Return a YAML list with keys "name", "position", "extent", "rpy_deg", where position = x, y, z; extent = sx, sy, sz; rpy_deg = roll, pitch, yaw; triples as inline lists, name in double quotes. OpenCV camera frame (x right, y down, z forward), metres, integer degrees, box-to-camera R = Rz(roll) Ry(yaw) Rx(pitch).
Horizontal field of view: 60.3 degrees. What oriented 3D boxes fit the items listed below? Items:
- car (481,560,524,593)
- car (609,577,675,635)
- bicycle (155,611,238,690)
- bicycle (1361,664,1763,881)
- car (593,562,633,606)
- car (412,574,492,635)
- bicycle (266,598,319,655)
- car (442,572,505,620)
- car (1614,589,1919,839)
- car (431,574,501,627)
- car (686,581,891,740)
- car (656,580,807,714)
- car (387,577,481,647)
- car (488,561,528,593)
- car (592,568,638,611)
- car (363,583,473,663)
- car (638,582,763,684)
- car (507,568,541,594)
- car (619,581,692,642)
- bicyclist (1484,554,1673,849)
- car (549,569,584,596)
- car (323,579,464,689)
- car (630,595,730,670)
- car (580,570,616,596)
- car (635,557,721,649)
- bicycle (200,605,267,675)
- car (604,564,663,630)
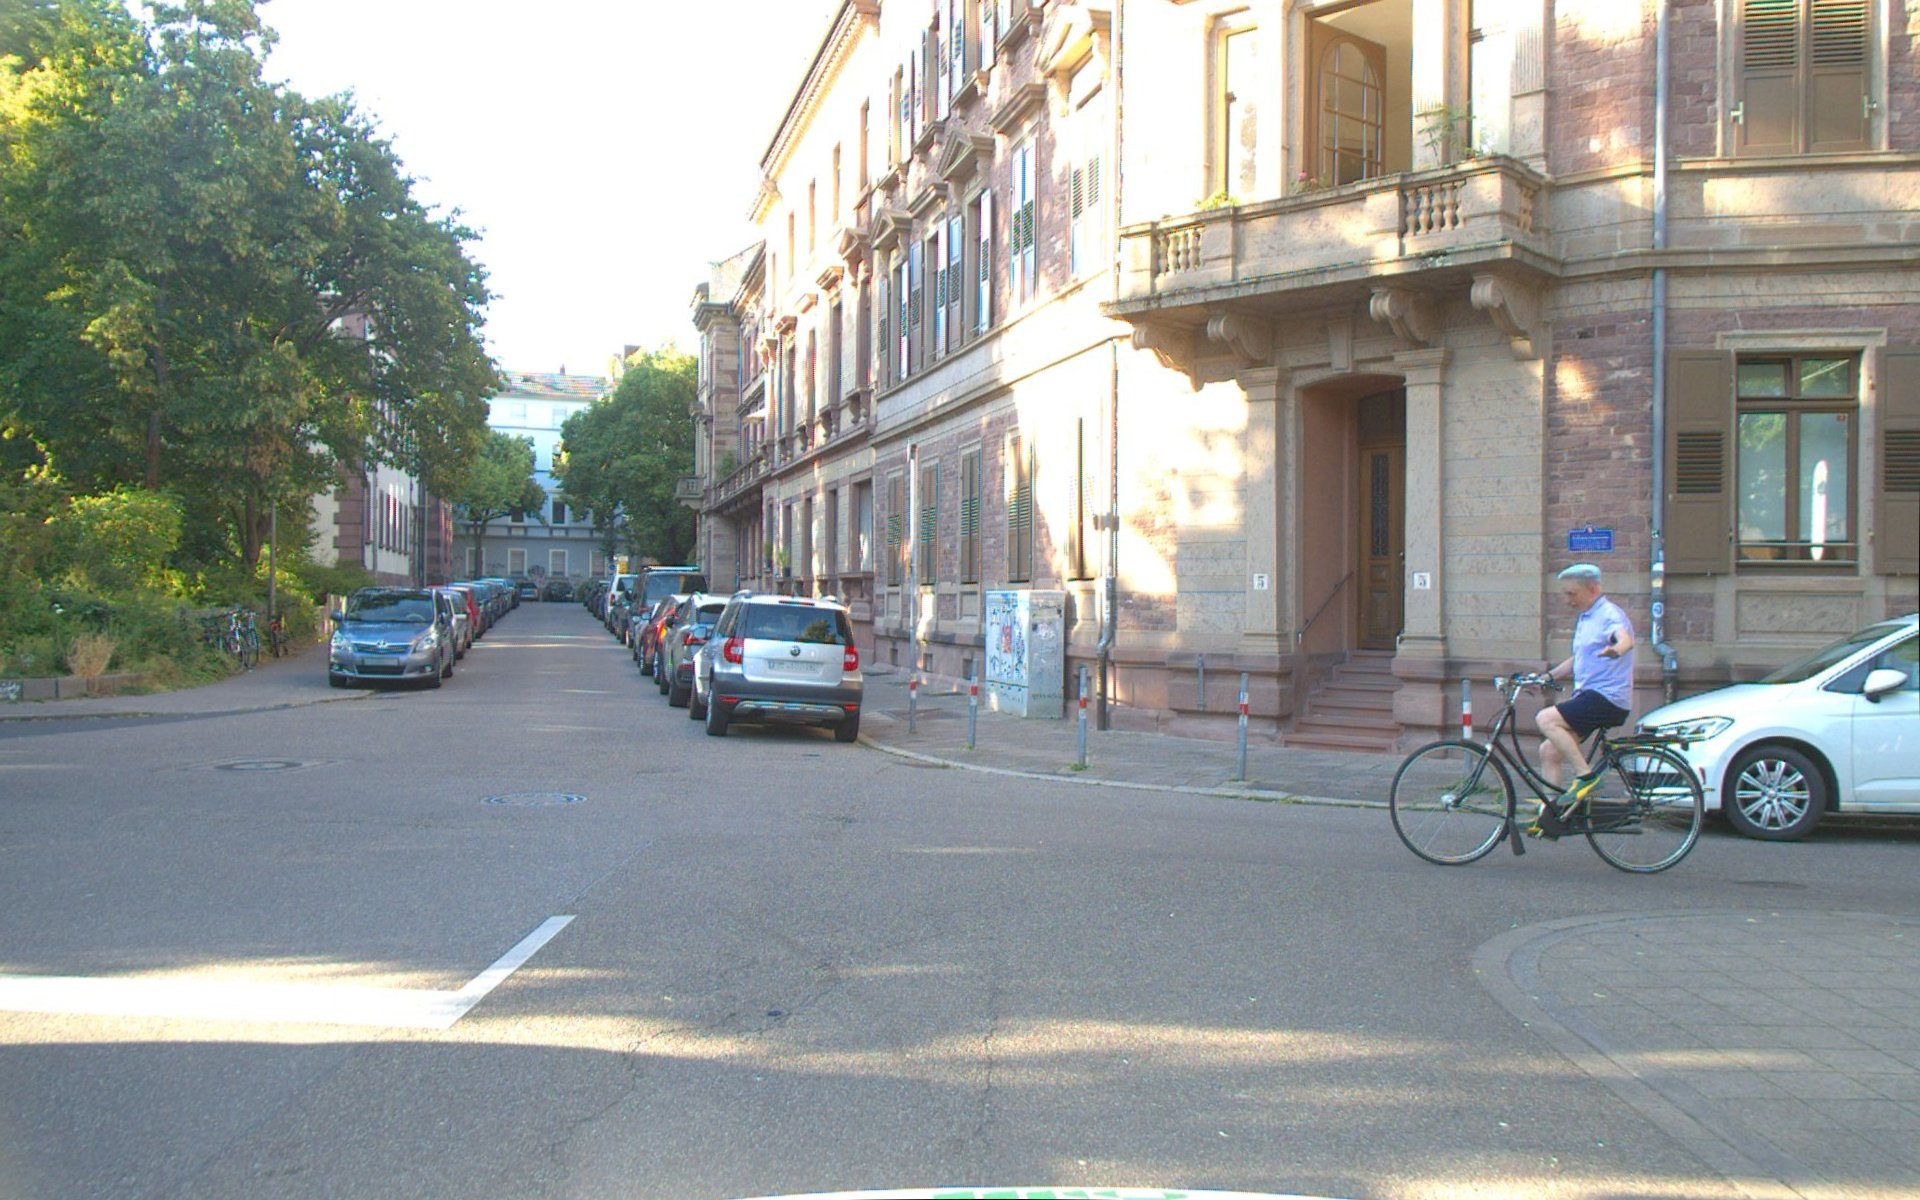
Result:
- name: "car"
  position: [-22.977, -1.185, 83.149]
  extent: [1.795, 1.526, 3.918]
  rpy_deg: [4, 0, -13]
- name: "car"
  position: [-10.050, 0.165, 52.059]
  extent: [1.767, 1.651, 3.941]
  rpy_deg: [3, 0, -14]
- name: "bicycle"
  position: [-11.972, 0.762, 25.993]
  extent: [0.586, 1.120, 2.620]
  rpy_deg: [0, 1, -12]
- name: "bicycle"
  position: [3.449, 0.974, 9.645]
  extent: [2.071, 1.072, 0.701]
  rpy_deg: [2, 1, 9]
- name: "car"
  position: [-17.414, -0.812, 82.941]
  extent: [1.767, 2.052, 3.941]
  rpy_deg: [3, 0, -14]
- name: "car"
  position: [-14.256, 0.088, 46.544]
  extent: [1.795, 1.526, 3.918]
  rpy_deg: [4, 0, -13]
- name: "bicycle"
  position: [-14.090, 0.547, 34.948]
  extent: [0.586, 1.120, 2.619]
  rpy_deg: [0, 1, -12]
- name: "car"
  position: [-17.028, -0.158, 58.008]
  extent: [1.795, 1.526, 3.918]
  rpy_deg: [4, 0, -13]
- name: "car"
  position: [7.268, 0.817, 12.055]
  extent: [4.387, 1.678, 1.876]
  rpy_deg: [1, -2, 12]
- name: "car"
  position: [-15.806, -0.002, 53.069]
  extent: [1.795, 1.526, 3.918]
  rpy_deg: [4, 0, -13]
- name: "car"
  position: [-2.246, 0.671, 20.577]
  extent: [1.884, 1.685, 4.171]
  rpy_deg: [4, 0, -14]
- name: "car"
  position: [-3.595, 0.642, 25.406]
  extent: [1.795, 1.753, 4.528]
  rpy_deg: [4, 0, -13]
- name: "car"
  position: [-12.810, 0.265, 40.474]
  extent: [1.795, 1.503, 3.918]
  rpy_deg: [4, 0, -13]
- name: "car"
  position: [-24.069, -1.243, 88.116]
  extent: [1.795, 1.526, 3.918]
  rpy_deg: [4, 0, -13]
- name: "car"
  position: [-15.395, -0.475, 73.710]
  extent: [1.767, 1.757, 3.941]
  rpy_deg: [3, 0, -14]
- name: "car"
  position: [-11.434, 0.453, 35.098]
  extent: [1.795, 1.472, 3.918]
  rpy_deg: [4, 0, -13]
- name: "car"
  position: [-4.873, 0.558, 30.643]
  extent: [1.768, 1.642, 3.938]
  rpy_deg: [3, 0, -16]
- name: "car"
  position: [-30.408, -1.304, 115.340]
  extent: [1.964, 1.713, 3.977]
  rpy_deg: [2, -1, -19]
- name: "car"
  position: [-8.699, 0.303, 47.059]
  extent: [1.767, 1.550, 3.941]
  rpy_deg: [3, 0, -14]
- name: "bicyclist"
  position: [3.575, 0.560, 9.625]
  extent: [0.853, 1.616, 0.701]
  rpy_deg: [2, 1, 9]
- name: "car"
  position: [-27.760, -1.219, 116.653]
  extent: [1.964, 1.713, 3.977]
  rpy_deg: [2, -1, -19]
- name: "car"
  position: [-9.739, 0.535, 28.713]
  extent: [1.795, 1.643, 4.277]
  rpy_deg: [4, 0, -13]
- name: "car"
  position: [-6.020, 0.661, 35.268]
  extent: [1.767, 1.368, 3.941]
  rpy_deg: [3, 0, -14]
- name: "car"
  position: [-25.771, -1.175, 117.652]
  extent: [1.964, 1.713, 3.977]
  rpy_deg: [2, -1, -19]
- name: "car"
  position: [-7.086, 0.036, 41.290]
  extent: [1.767, 2.108, 3.941]
  rpy_deg: [3, 0, -14]
- name: "bicycle"
  position: [-12.554, 0.665, 28.639]
  extent: [0.586, 1.120, 2.618]
  rpy_deg: [0, 1, -14]
- name: "car"
  position: [-11.396, -0.134, 57.588]
  extent: [1.767, 2.108, 3.941]
  rpy_deg: [3, 0, -14]
